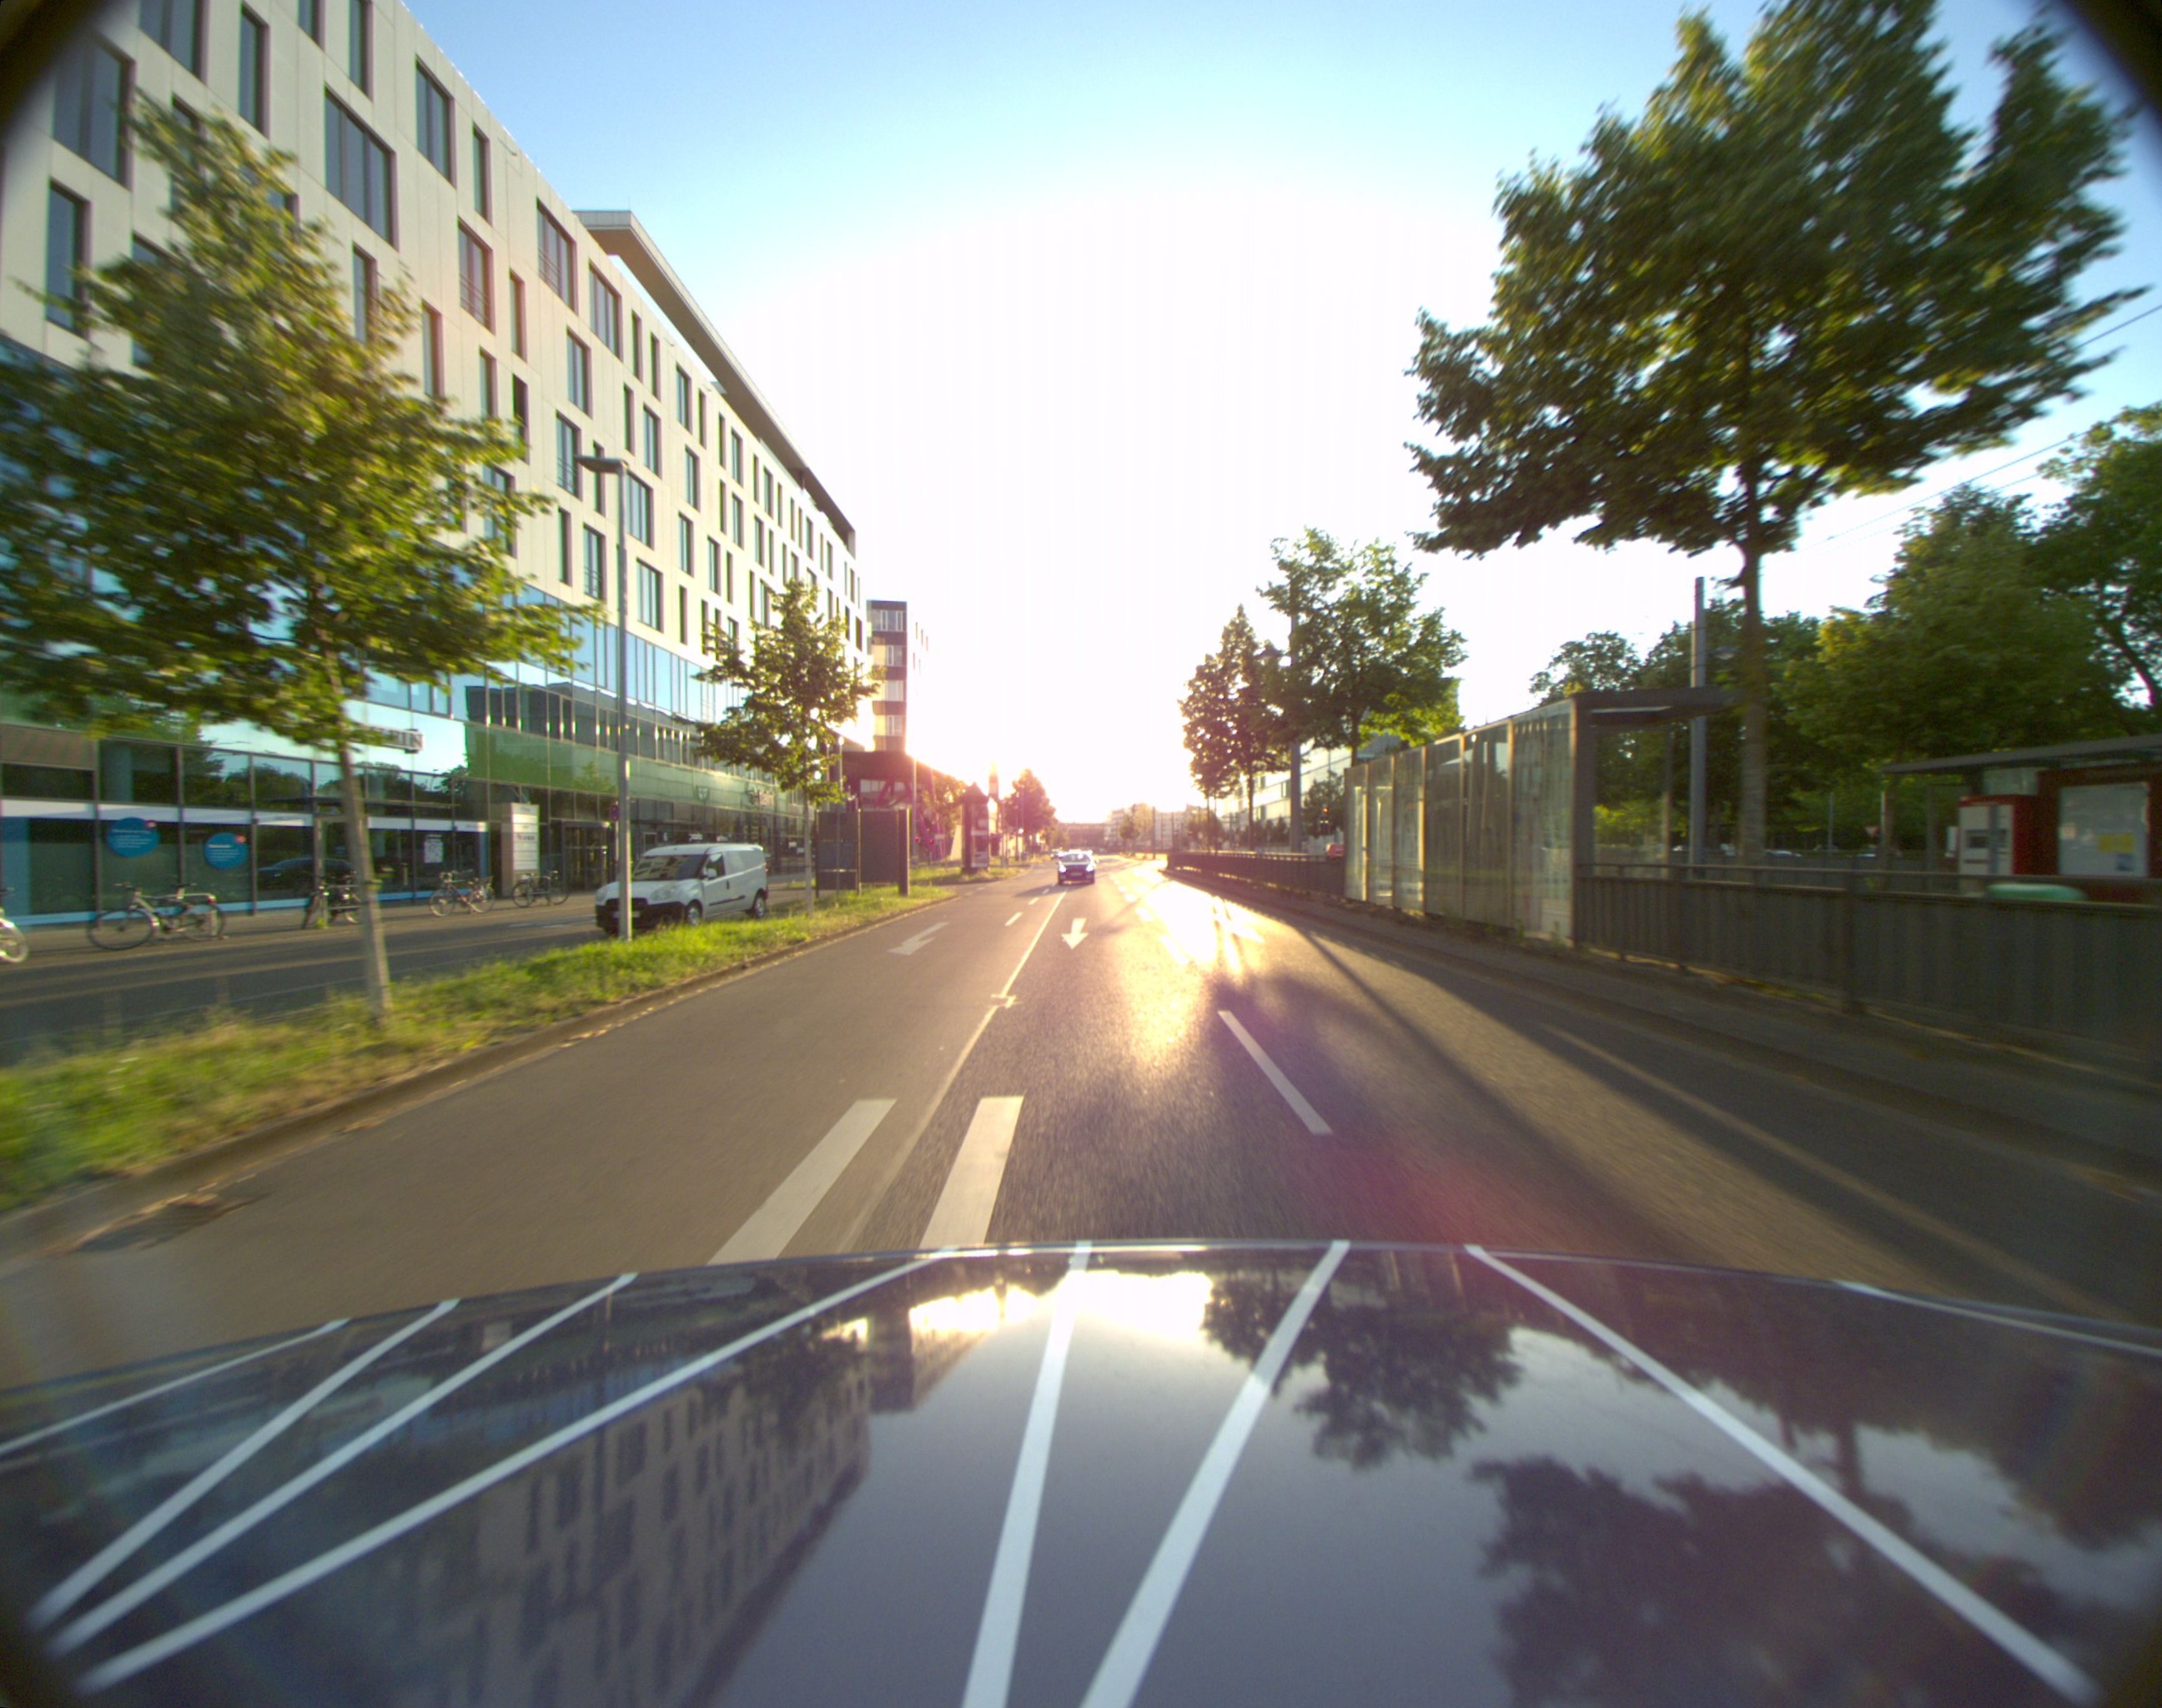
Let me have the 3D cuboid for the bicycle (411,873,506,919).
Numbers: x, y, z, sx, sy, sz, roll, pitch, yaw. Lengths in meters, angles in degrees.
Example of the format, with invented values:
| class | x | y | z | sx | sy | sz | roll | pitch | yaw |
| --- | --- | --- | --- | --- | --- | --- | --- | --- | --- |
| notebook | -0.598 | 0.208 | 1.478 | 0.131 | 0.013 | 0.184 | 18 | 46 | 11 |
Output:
| class | x | y | z | sx | sy | sz | roll | pitch | yaw |
| --- | --- | --- | --- | --- | --- | --- | --- | --- | --- |
| bicycle | -15.540 | 1.023 | 19.036 | 0.530 | 1.035 | 1.919 | 2 | 0 | 12 |

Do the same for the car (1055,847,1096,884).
| class | x | y | z | sx | sy | sz | roll | pitch | yaw |
| --- | --- | --- | --- | --- | --- | --- | --- | --- | --- |
| car | -0.238 | 0.511 | 35.774 | 1.828 | 1.625 | 3.999 | -1 | 1 | 0 |

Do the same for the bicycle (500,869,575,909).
| class | x | y | z | sx | sy | sz | roll | pitch | yaw |
| --- | --- | --- | --- | --- | --- | --- | --- | --- | --- |
| bicycle | -15.638 | 0.985 | 21.910 | 0.530 | 1.035 | 1.877 | 2 | 0 | 12 |

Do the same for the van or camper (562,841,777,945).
| class | x | y | z | sx | sy | sz | roll | pitch | yaw |
| --- | --- | --- | --- | --- | --- | --- | --- | --- | --- |
| van or camper | -8.773 | 0.717 | 16.825 | 1.963 | 1.908 | 4.829 | -2 | 1 | 1 |

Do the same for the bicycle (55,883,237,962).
| class | x | y | z | sx | sy | sz | roll | pitch | yaw |
| --- | --- | --- | --- | --- | --- | --- | --- | --- | --- |
| bicycle | -15.659 | 1.107 | 12.832 | 0.388 | 1.102 | 2.147 | 2 | 1 | 1 |

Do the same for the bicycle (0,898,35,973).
| class | x | y | z | sx | sy | sz | roll | pitch | yaw |
| --- | --- | --- | --- | --- | --- | --- | --- | --- | --- |
| bicycle | -15.664 | 1.178 | 10.196 | 0.531 | 1.035 | 2.072 | 1 | 0 | -5 |

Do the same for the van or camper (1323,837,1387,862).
| class | x | y | z | sx | sy | sz | roll | pitch | yaw |
| --- | --- | --- | --- | --- | --- | --- | --- | --- | --- |
| van or camper | 24.157 | -0.364 | 67.194 | 4.884 | 2.002 | 2.000 | -2 | 1 | 2 |
